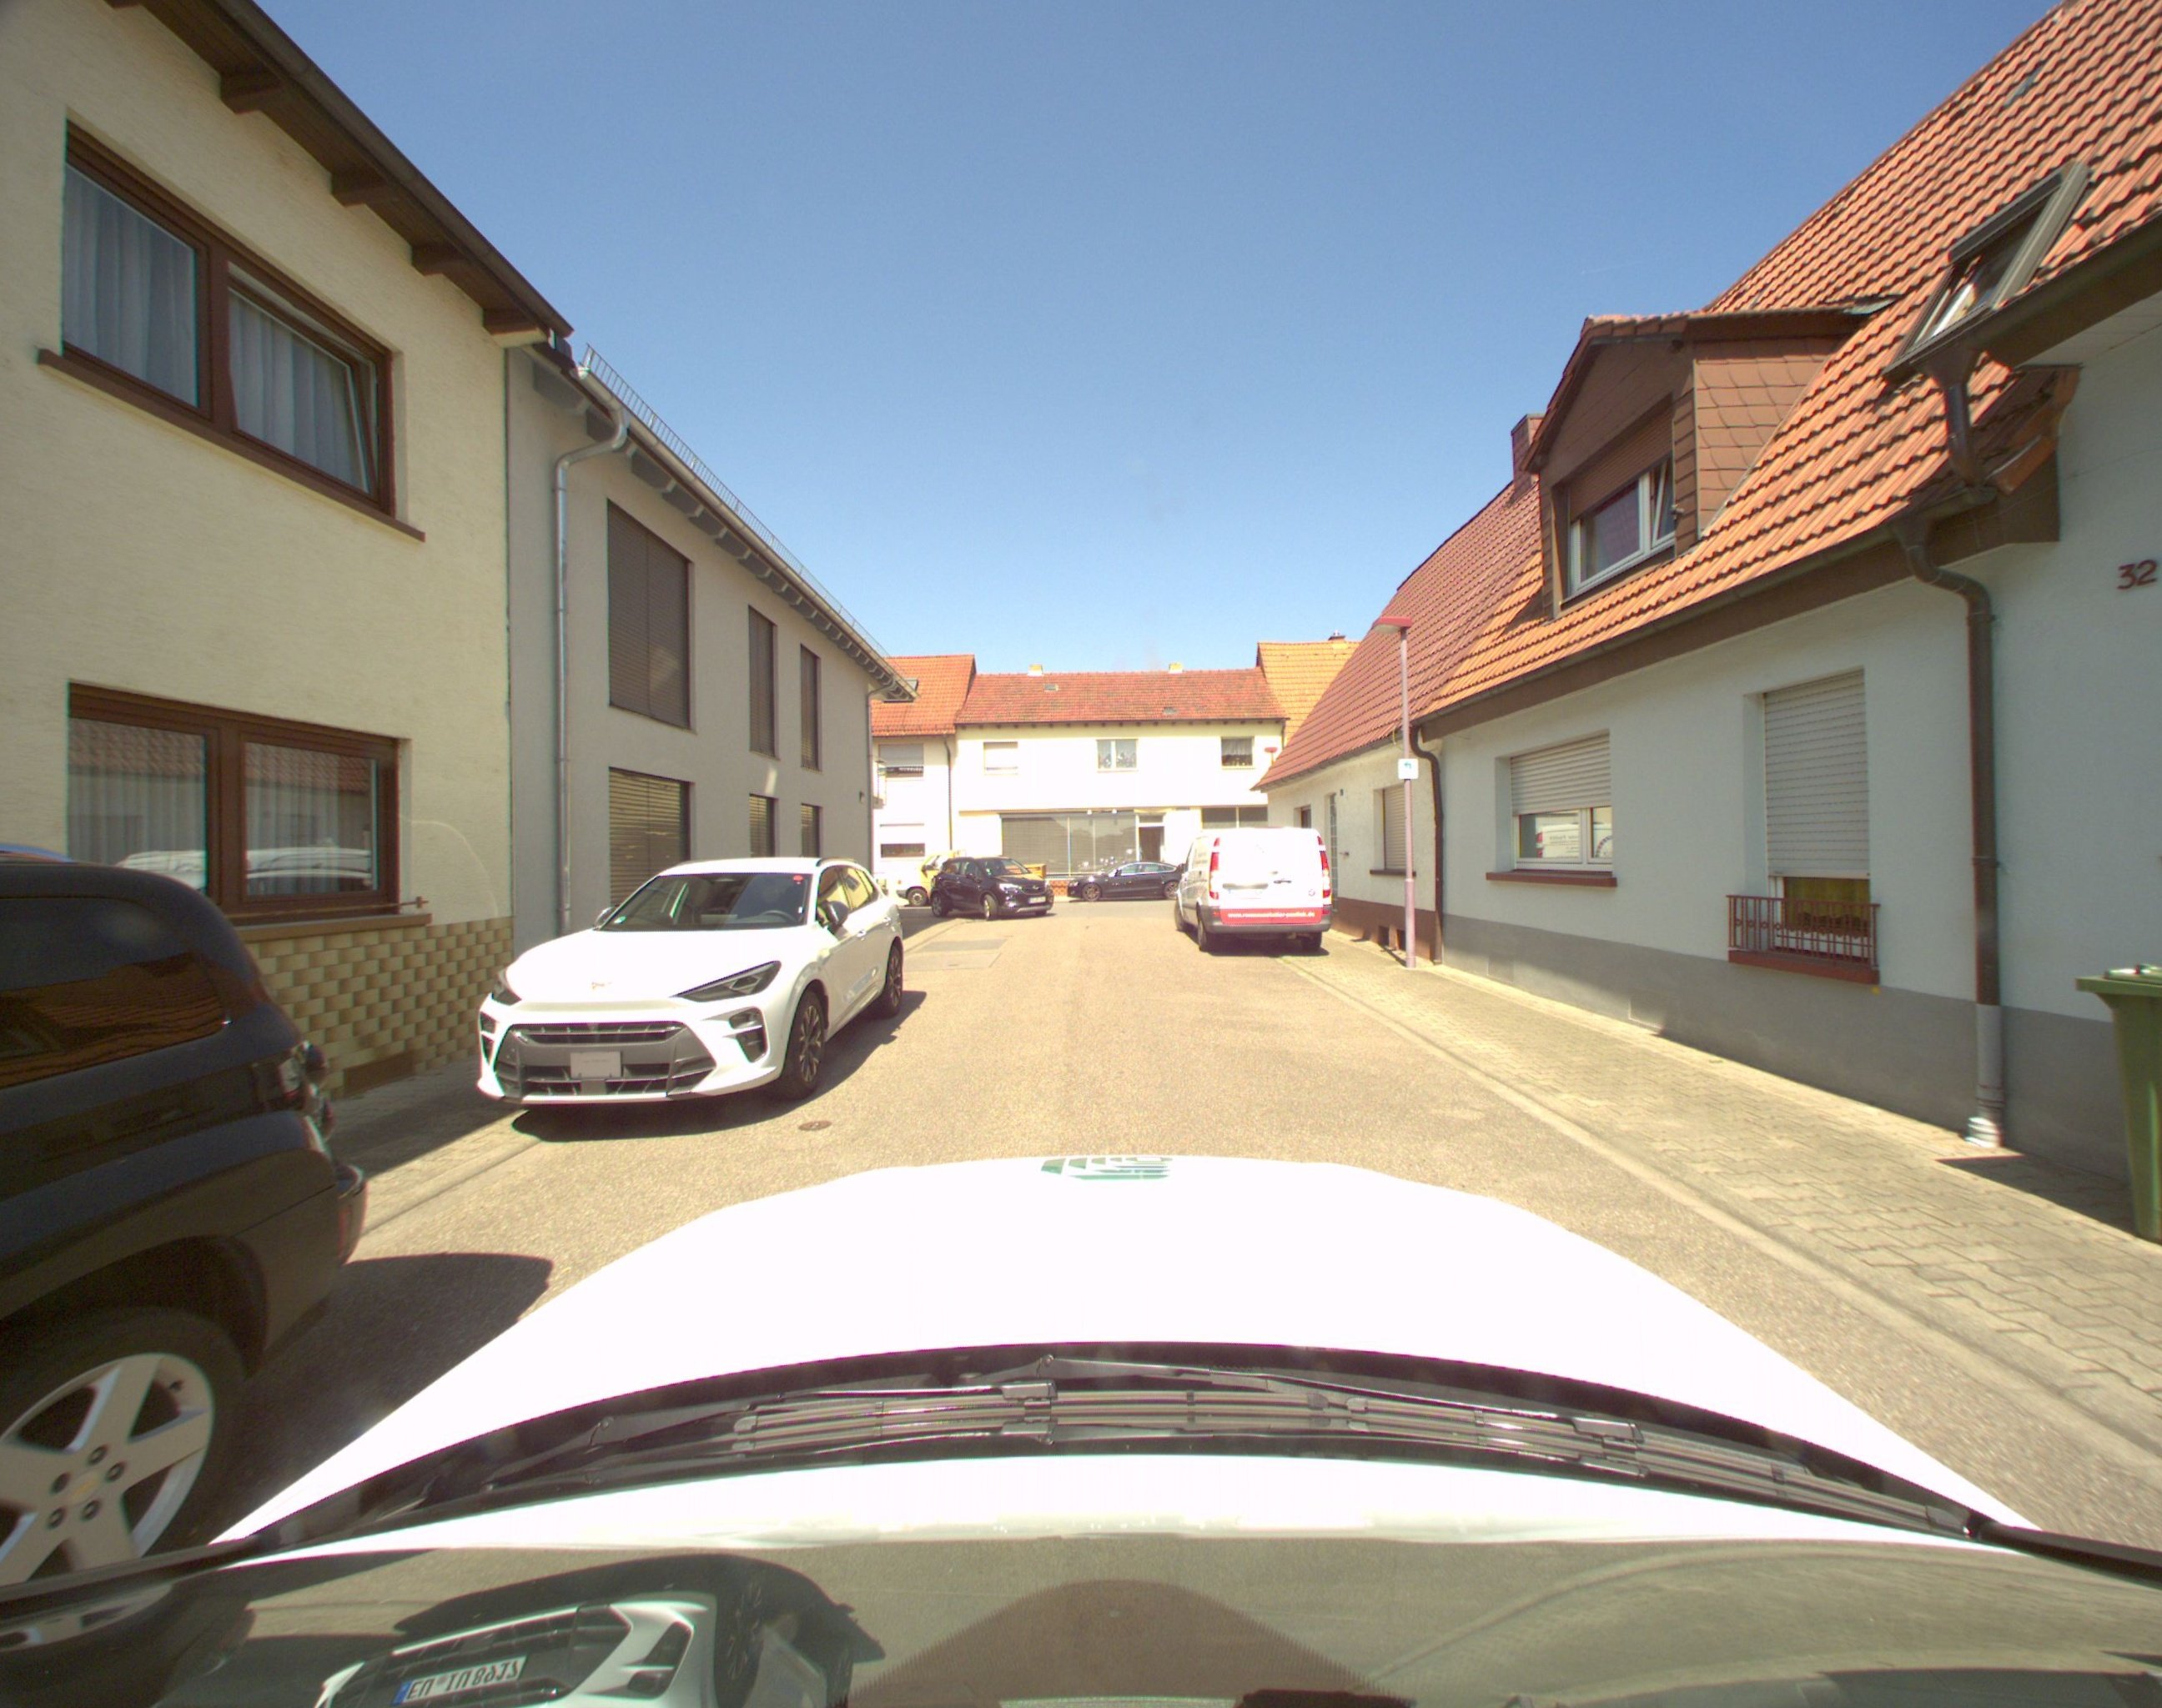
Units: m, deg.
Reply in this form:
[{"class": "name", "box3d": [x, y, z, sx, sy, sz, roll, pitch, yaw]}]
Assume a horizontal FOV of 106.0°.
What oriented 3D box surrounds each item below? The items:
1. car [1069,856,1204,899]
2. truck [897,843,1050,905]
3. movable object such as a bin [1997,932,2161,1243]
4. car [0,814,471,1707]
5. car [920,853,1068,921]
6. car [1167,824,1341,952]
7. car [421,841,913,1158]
[{"class": "car", "box3d": [1.888, 0.848, 28.677, 4.603, 1.394, 1.927, -1, -3, -1]}, {"class": "truck", "box3d": [-3.679, 0.690, 28.675, 5.046, 2.014, 2.189, -1, -1, 0]}, {"class": "movable object such as a bin", "box3d": [4.271, 0.881, 3.092, 0.656, 1.071, 0.812, -1, 0, -1]}, {"class": "car", "box3d": [-2.849, 0.765, 0.484, 1.714, 1.615, 3.994, -2, 0, 4]}, {"class": "car", "box3d": [-2.419, 0.836, 21.761, 1.772, 1.583, 4.229, -2, 0, -41]}, {"class": "car", "box3d": [2.763, 0.499, 14.340, 2.006, 1.839, 5.265, 0, 0, 1]}, {"class": "car", "box3d": [-2.654, 0.784, 6.532, 1.769, 1.615, 4.346, -2, 0, -2]}]
